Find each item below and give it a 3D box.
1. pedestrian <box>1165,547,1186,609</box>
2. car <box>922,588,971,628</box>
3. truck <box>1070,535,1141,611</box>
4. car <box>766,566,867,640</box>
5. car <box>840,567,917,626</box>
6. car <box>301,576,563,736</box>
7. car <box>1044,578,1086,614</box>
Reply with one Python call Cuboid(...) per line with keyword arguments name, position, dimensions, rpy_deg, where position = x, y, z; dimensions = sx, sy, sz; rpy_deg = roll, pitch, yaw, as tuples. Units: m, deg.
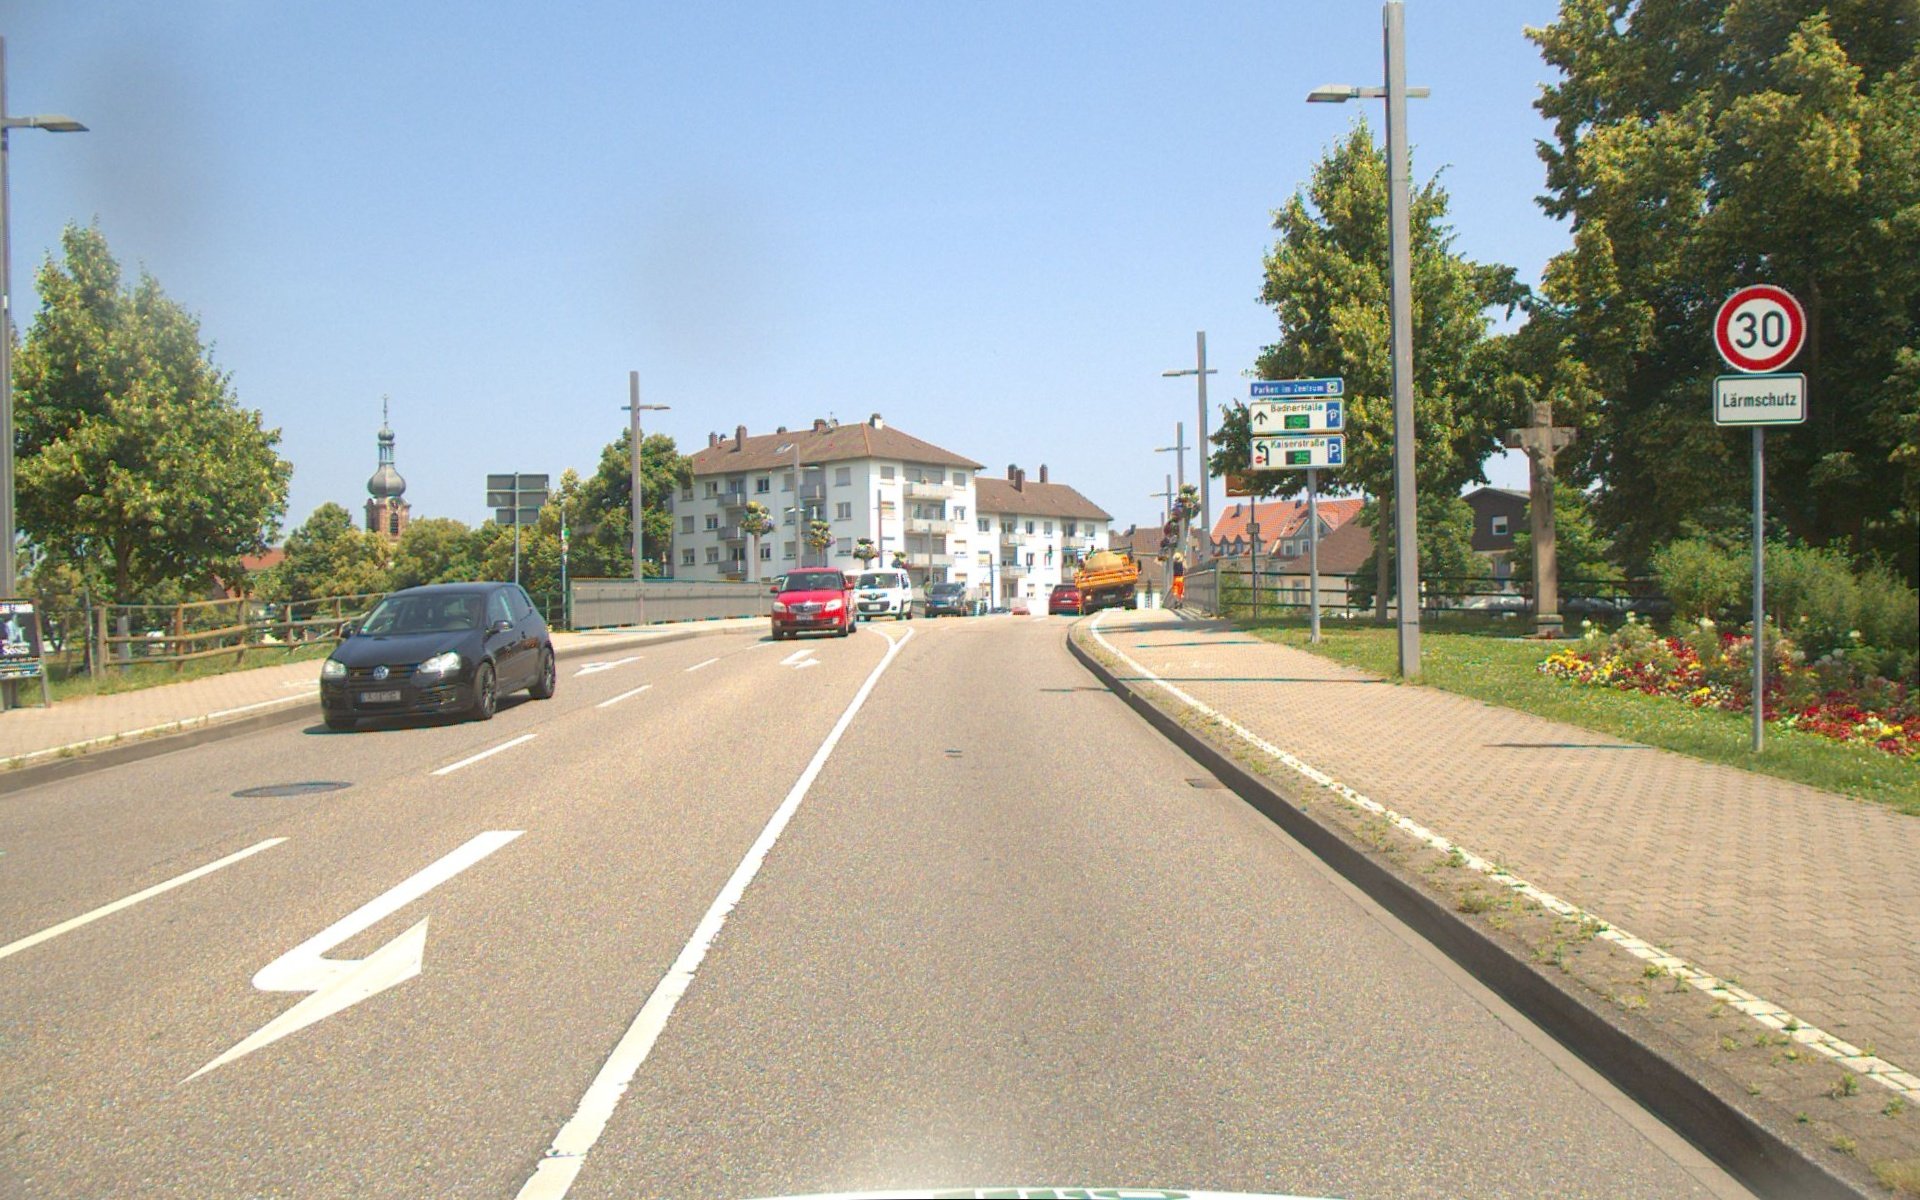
Cuboid(name="pedestrian", position=(7.123, -0.718, 54.761), dimensions=(0.536, 1.994, 0.672), rpy_deg=(-1, -2, -3))
Cuboid(name="car", position=(-0.611, 0.356, 77.229), dimensions=(1.700, 1.669, 3.924), rpy_deg=(-4, 0, 7))
Cuboid(name="truck", position=(5.742, -0.999, 64.766), dimensions=(2.550, 2.738, 5.827), rpy_deg=(-2, -1, 6))
Cuboid(name="car", position=(-3.079, 0.040, 36.218), dimensions=(1.612, 1.489, 3.863), rpy_deg=(-2, 0, 4))
Cuboid(name="car", position=(-2.776, -0.122, 57.317), dimensions=(1.798, 1.892, 4.667), rpy_deg=(-3, 0, 7))
Cuboid(name="car", position=(-5.903, 0.540, 18.988), dimensions=(1.679, 1.511, 4.031), rpy_deg=(-3, 1, -1))
Cuboid(name="car", position=(5.203, -0.186, 81.771), dimensions=(1.948, 1.641, 4.344), rpy_deg=(-2, -1, 4))
